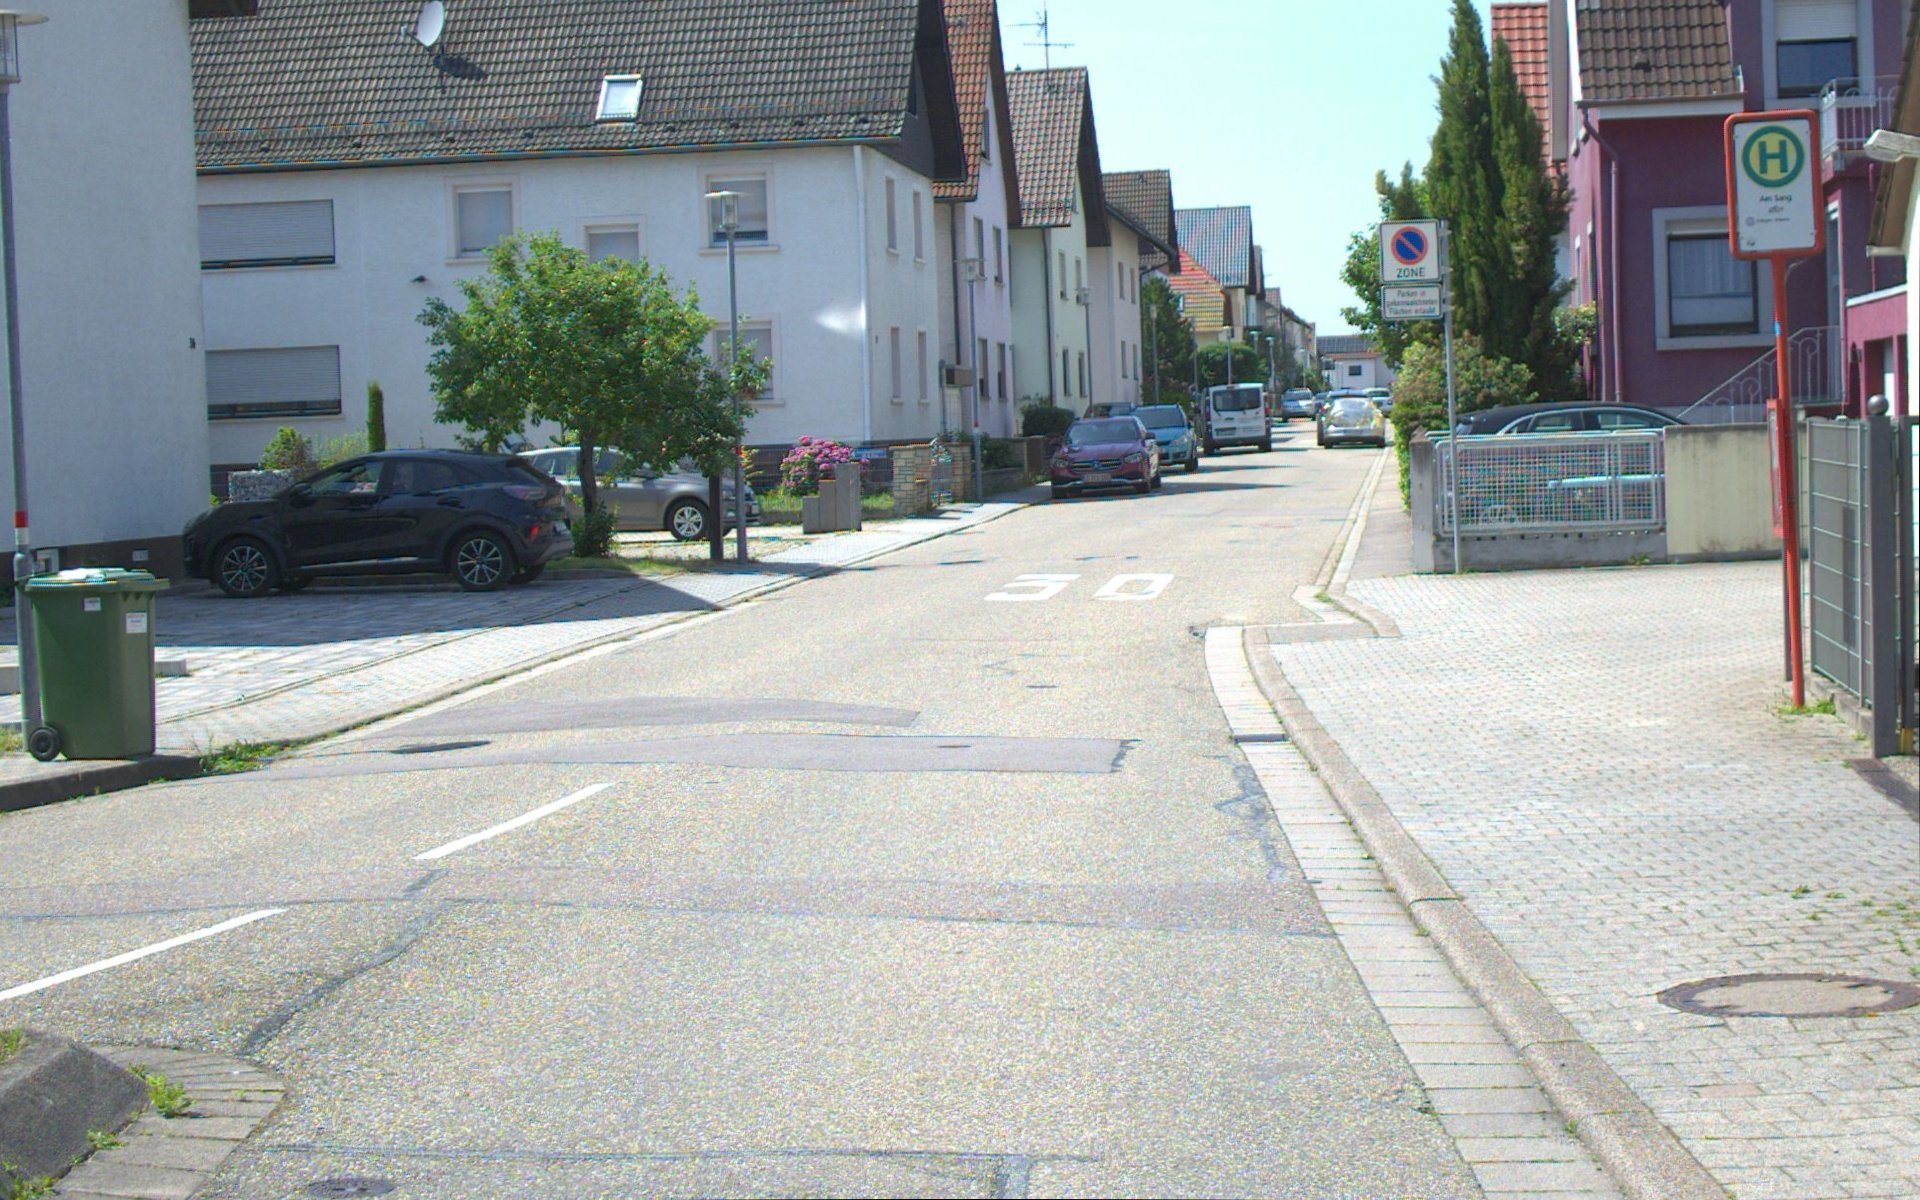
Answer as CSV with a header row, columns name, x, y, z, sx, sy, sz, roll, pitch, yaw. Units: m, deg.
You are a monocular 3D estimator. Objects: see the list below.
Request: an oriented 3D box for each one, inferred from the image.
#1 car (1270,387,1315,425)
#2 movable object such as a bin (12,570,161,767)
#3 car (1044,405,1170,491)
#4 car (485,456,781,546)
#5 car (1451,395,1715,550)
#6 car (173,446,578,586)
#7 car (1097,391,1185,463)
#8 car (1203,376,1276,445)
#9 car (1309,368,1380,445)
name,x,y,z,sx,sy,sz,roll,pitch,yaw
car,16.965,-9.898,175.287,1.955,1.807,3.999,0,2,10
movable object such as a bin,-4.948,0.385,19.498,0.645,1.080,0.458,-1,3,15
car,2.855,-2.919,65.884,1.994,1.548,3.999,-1,3,8
car,-4.724,-1.452,50.025,3.987,1.186,1.840,-1,3,5
car,6.798,-1.387,37.673,2.745,1.592,1.171,-1,1,8
car,-6.286,-0.922,37.208,3.987,1.378,1.660,-1,2,5
car,4.199,-4.036,80.389,1.924,1.598,4.000,-1,2,2
car,8.028,-5.410,98.466,1.852,1.781,3.999,-1,1,7
car,11.165,-5.586,99.664,1.952,2.065,3.999,-2,1,7
